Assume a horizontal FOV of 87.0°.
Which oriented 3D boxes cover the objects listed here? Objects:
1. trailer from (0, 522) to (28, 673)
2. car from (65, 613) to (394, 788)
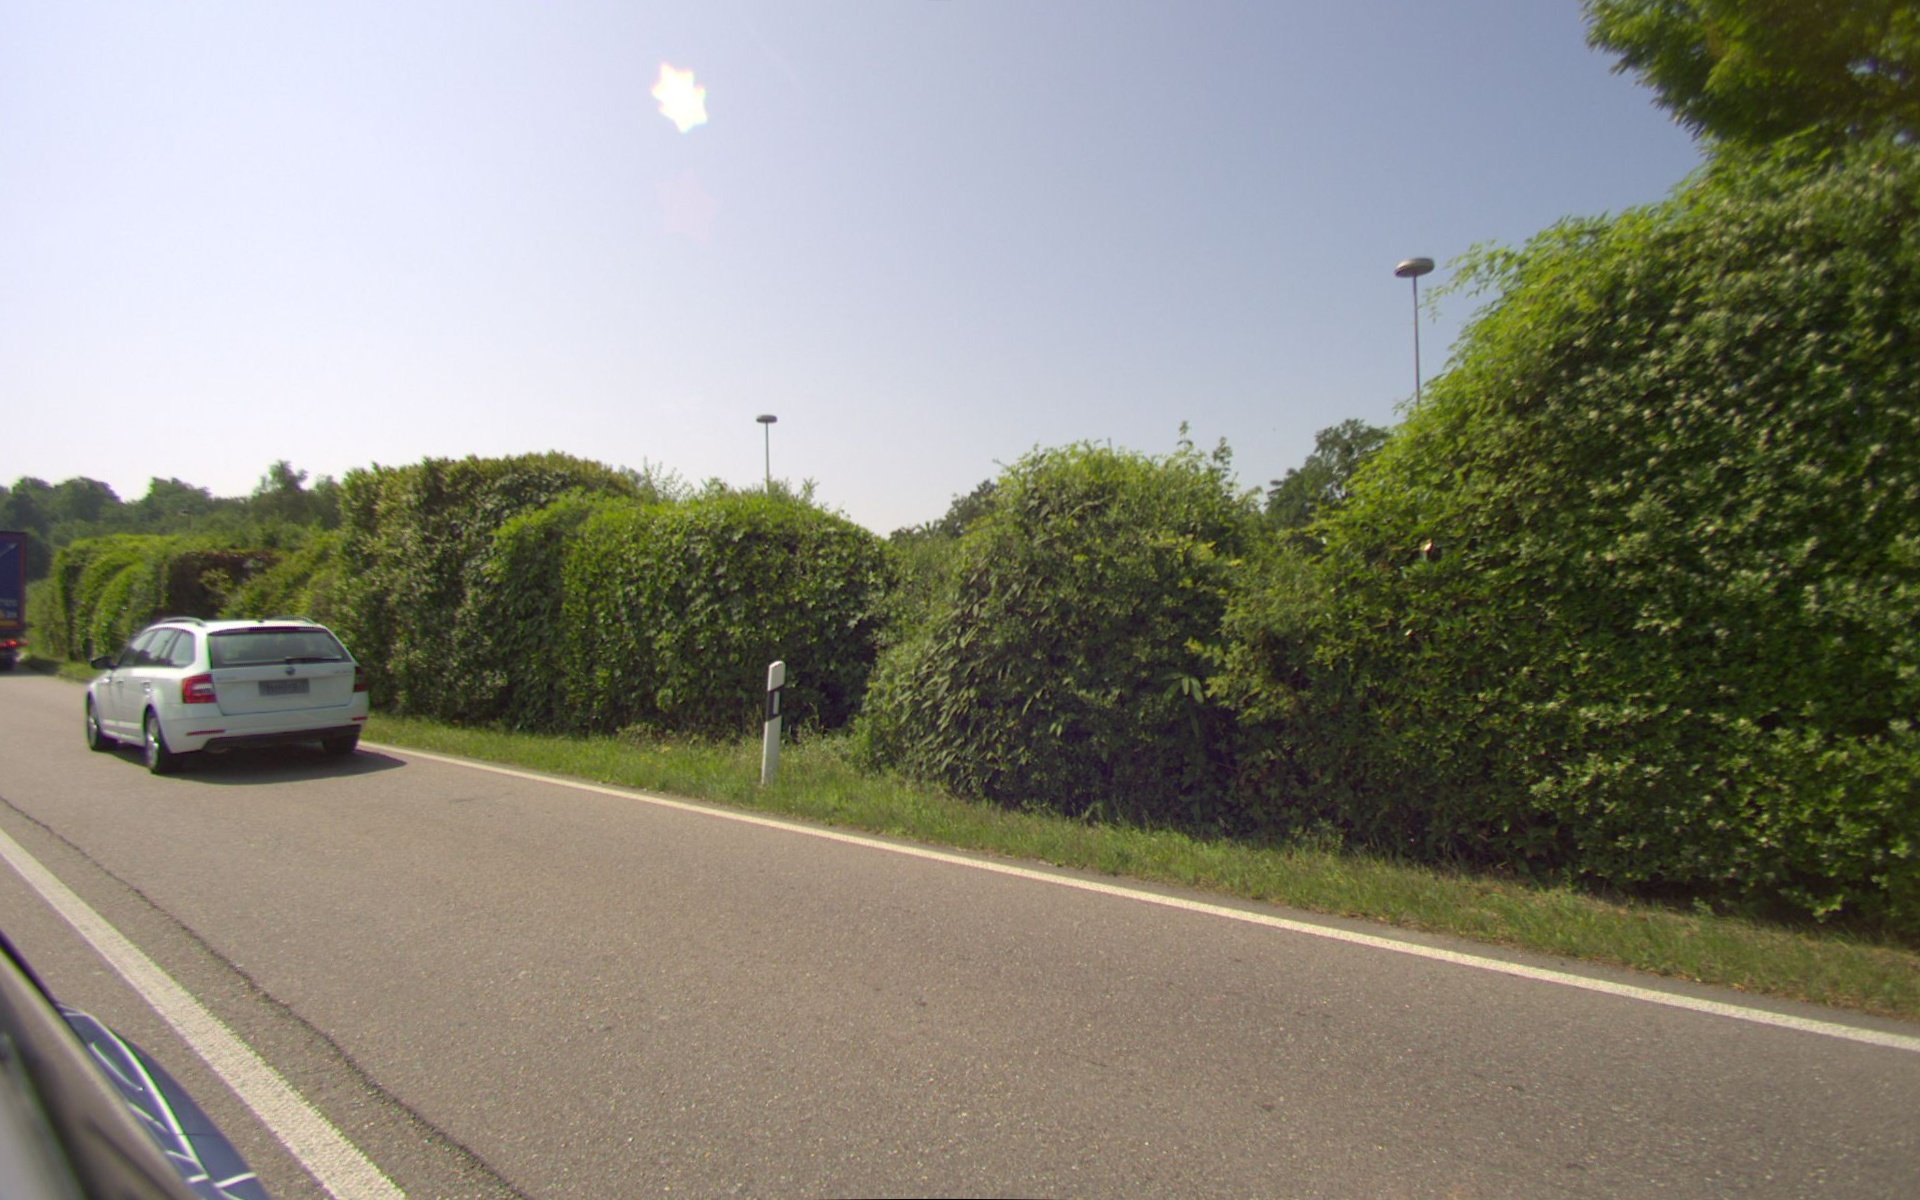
[{"bbox_3d":[-33.131,0.035,32.961,14.560,4.273,2.642,-1,0,42],"label":"trailer"},{"bbox_3d":[-7.962,0.911,10.878,4.405,1.481,1.811,-1,0,39],"label":"car"}]
